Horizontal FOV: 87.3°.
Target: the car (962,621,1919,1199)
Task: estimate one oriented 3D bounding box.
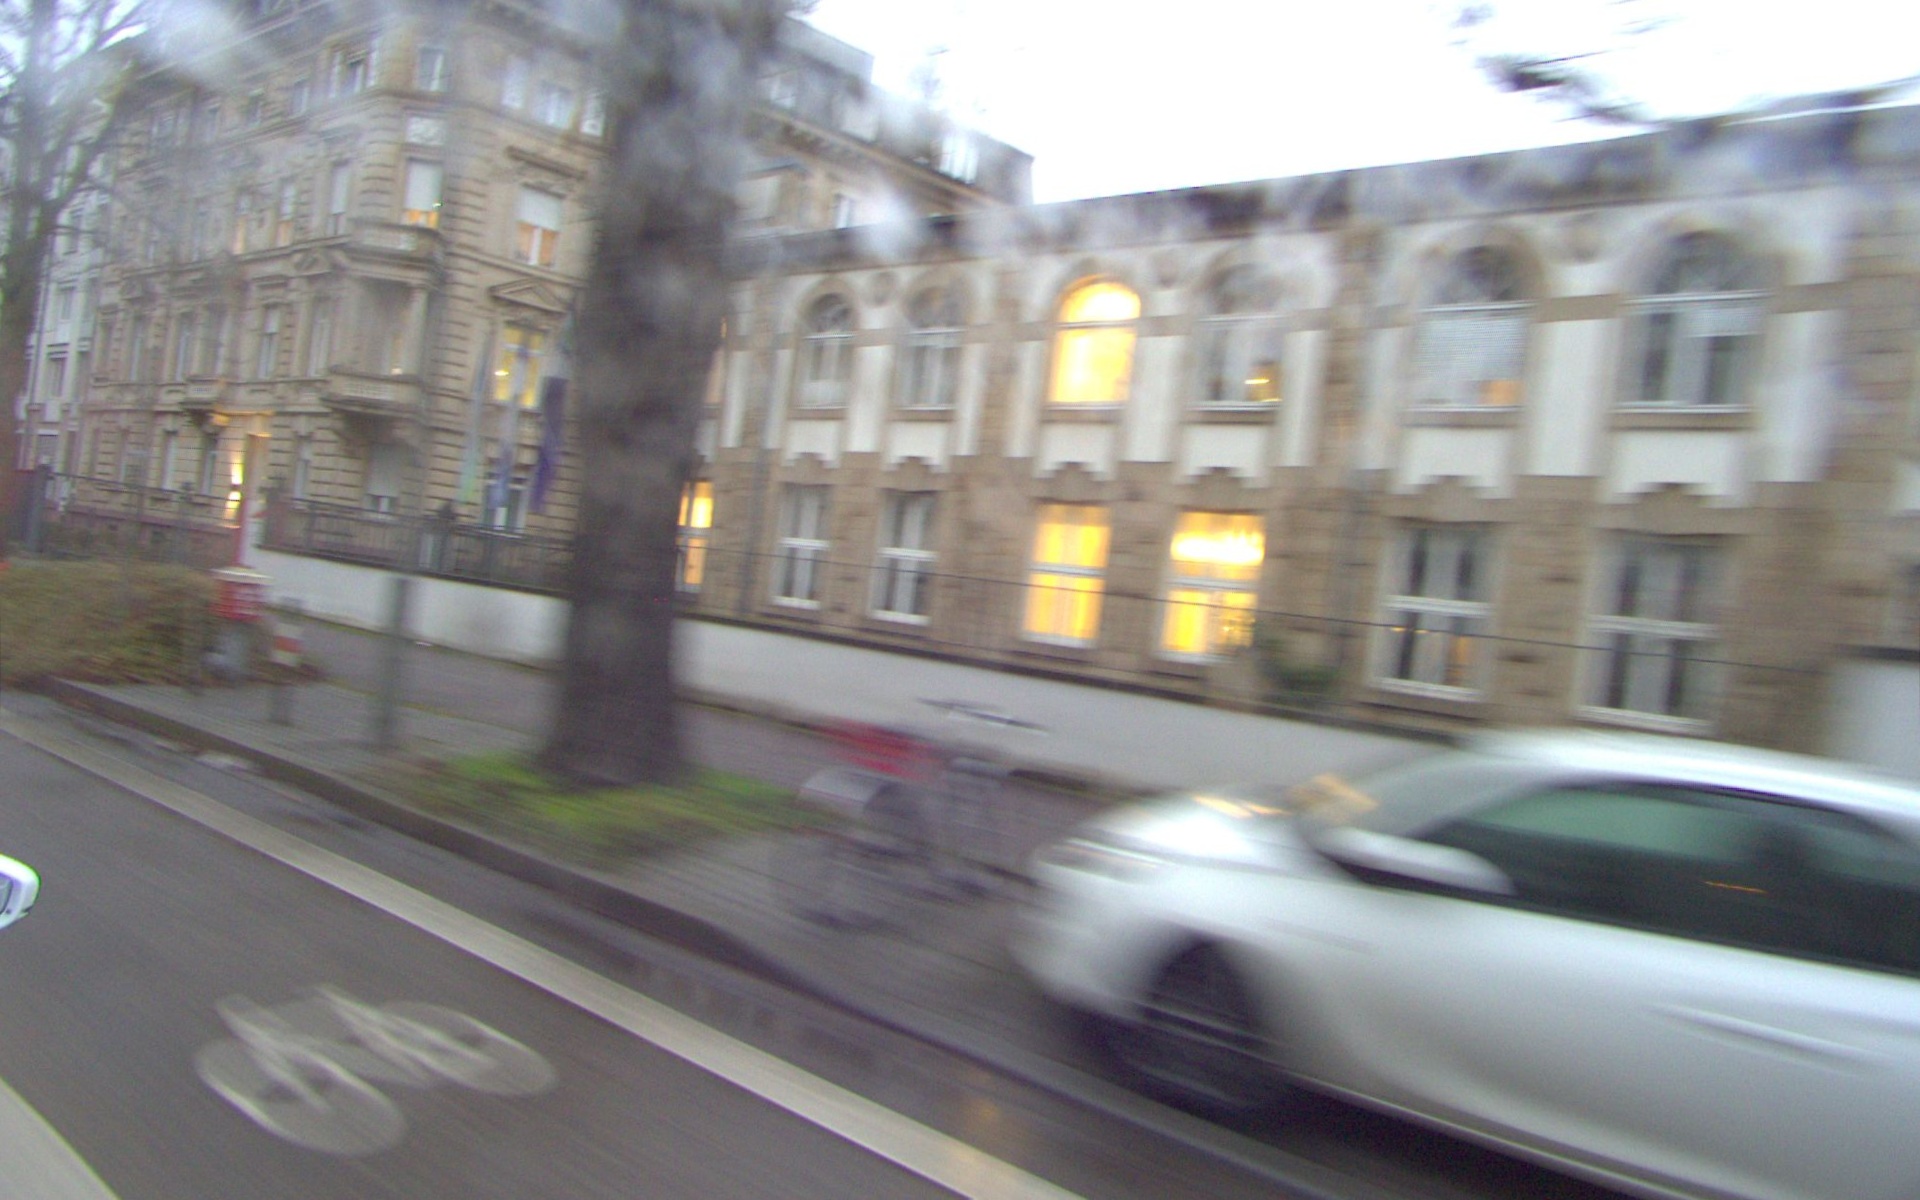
[{"bbox_3d":[2.049,1.113,3.650,3.576,1.538,1.694,8,0,30],"label":"car"}]

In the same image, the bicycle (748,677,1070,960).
[{"bbox_3d":[-0.167,0.986,5.069,0.652,1.084,1.715,8,0,31],"label":"bicycle"}]
